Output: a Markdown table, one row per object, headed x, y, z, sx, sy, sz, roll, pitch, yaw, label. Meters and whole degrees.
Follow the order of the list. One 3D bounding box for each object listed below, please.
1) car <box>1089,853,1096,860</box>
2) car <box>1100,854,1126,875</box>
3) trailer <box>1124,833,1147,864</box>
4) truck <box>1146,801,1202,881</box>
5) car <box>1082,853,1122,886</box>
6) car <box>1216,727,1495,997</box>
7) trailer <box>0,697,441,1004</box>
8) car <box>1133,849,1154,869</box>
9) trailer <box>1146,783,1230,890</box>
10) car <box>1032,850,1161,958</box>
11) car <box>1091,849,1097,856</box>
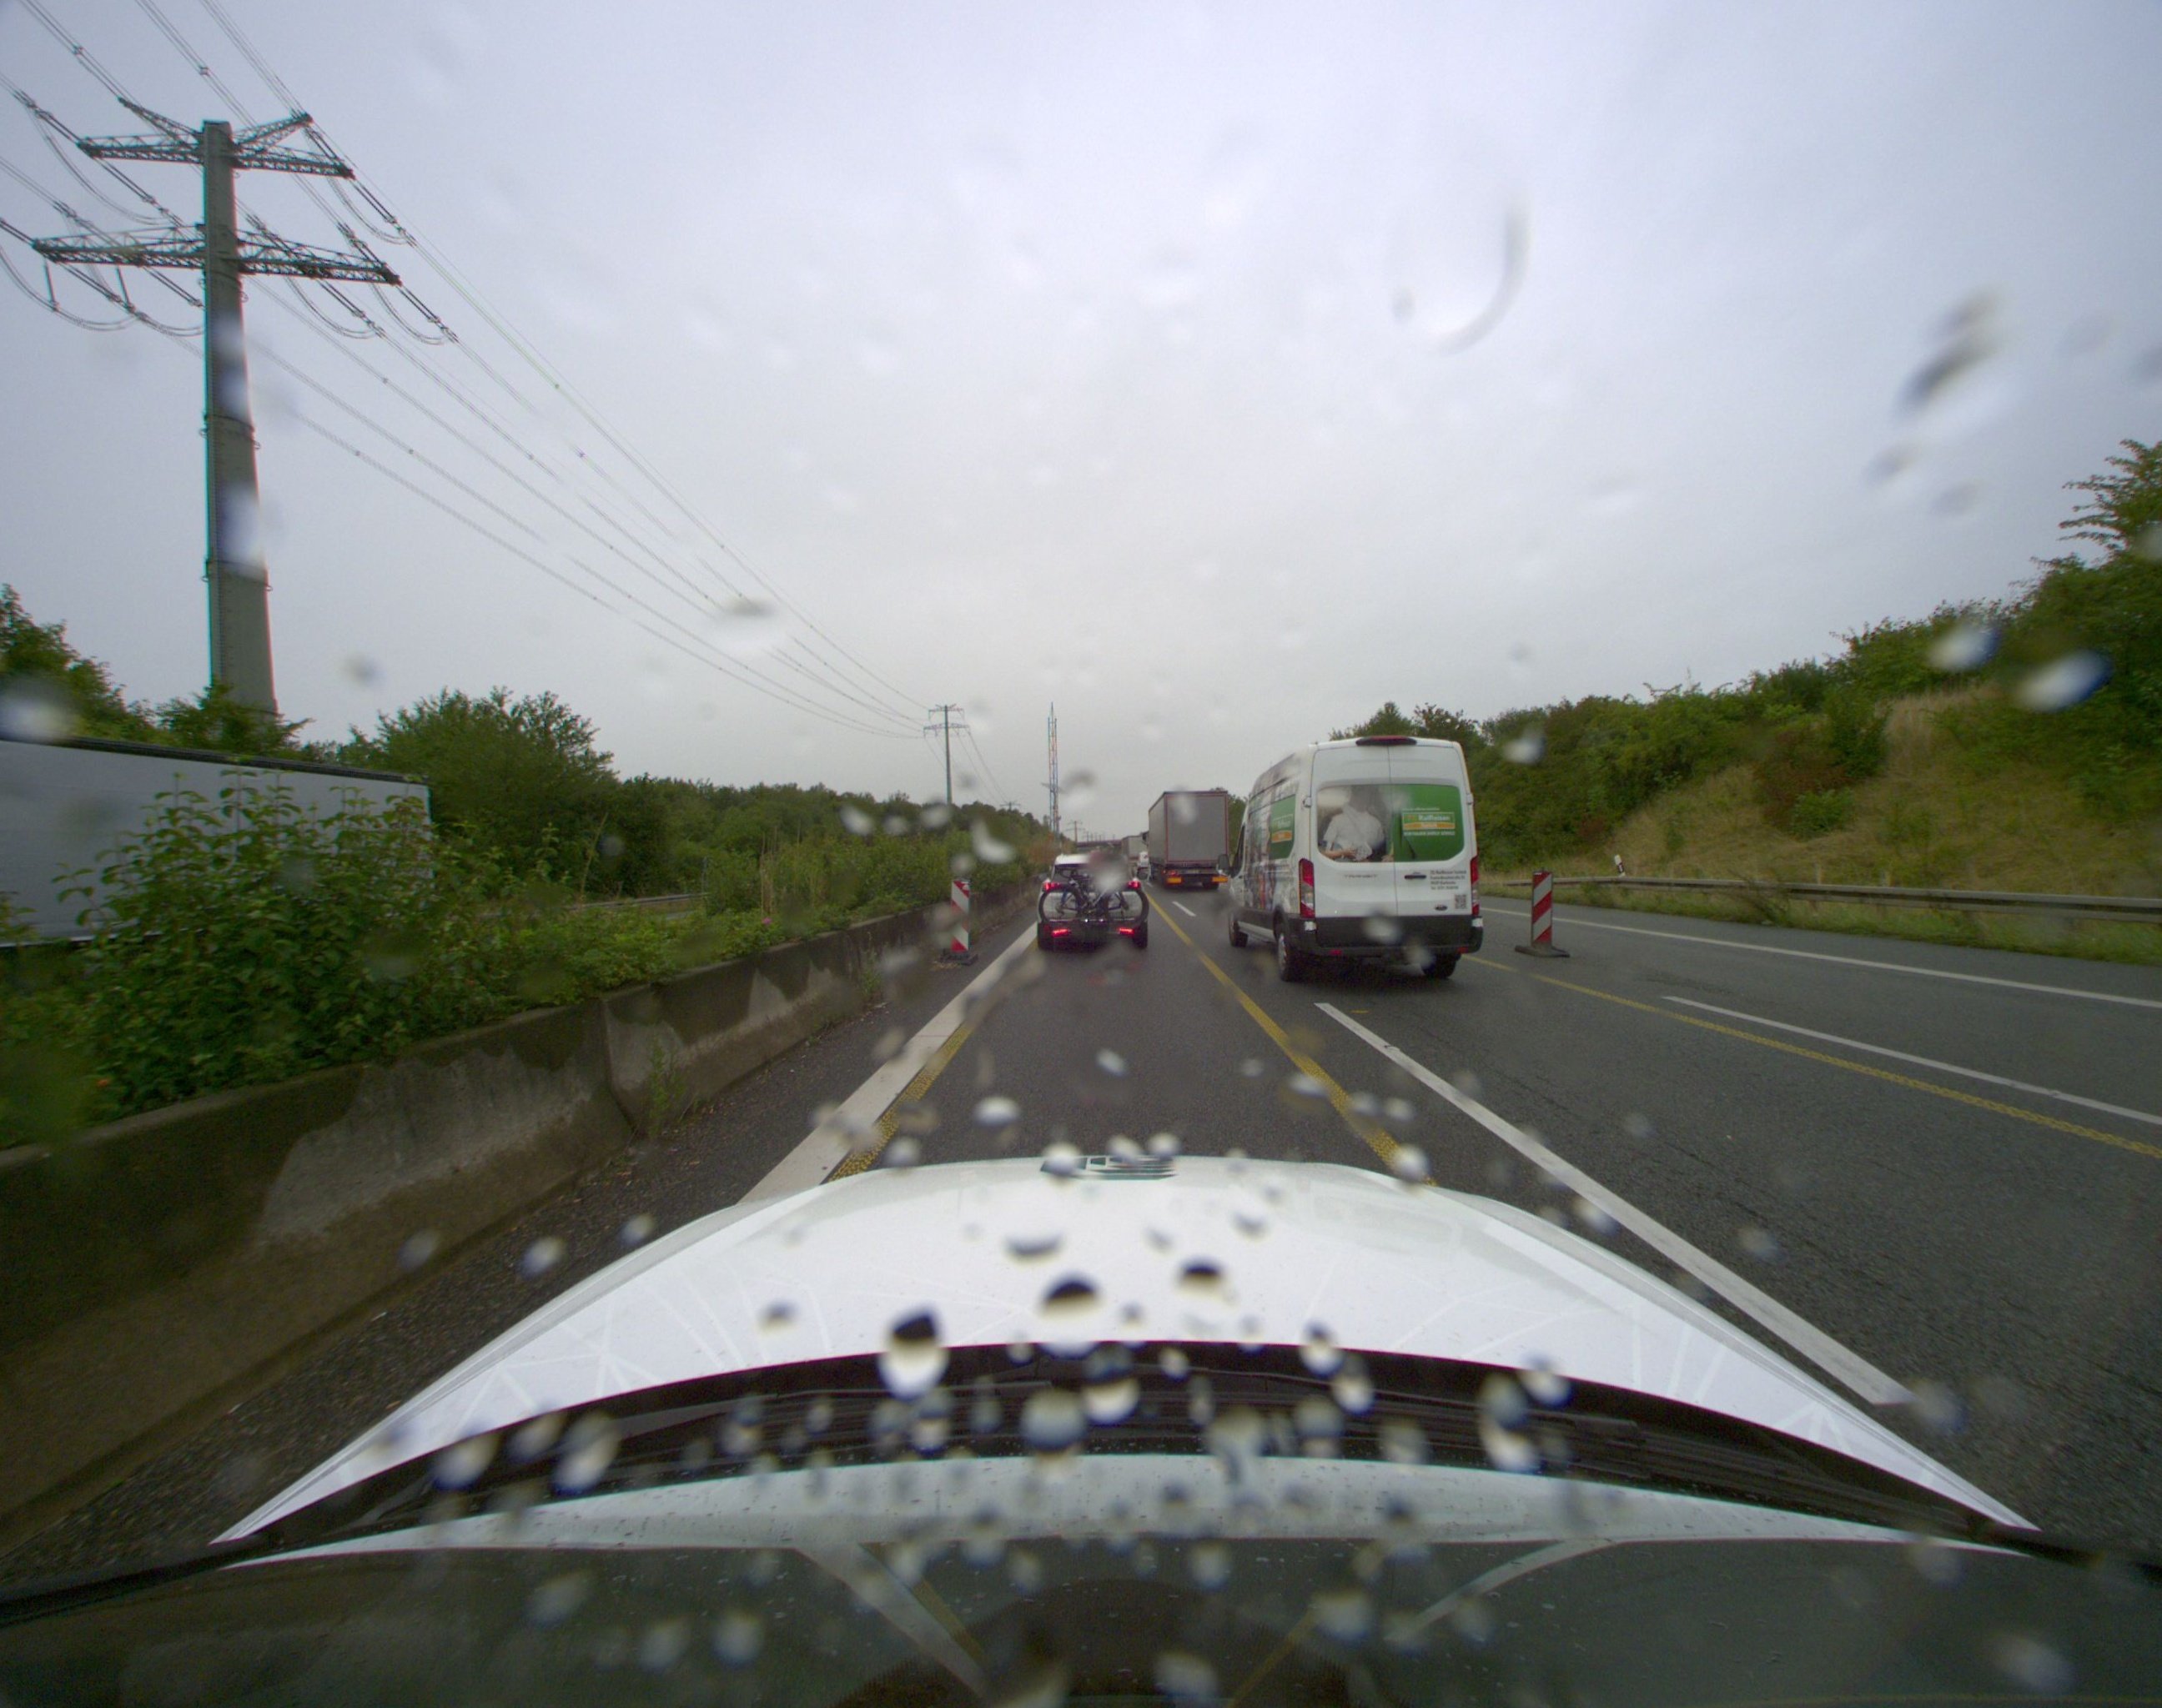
| x | y | z | sx | sy | sz | roll | pitch | yaw | label |
| --- | --- | --- | --- | --- | --- | --- | --- | --- | --- |
| 3.422 | 0.628 | 240.563 | 1.924 | 1.973 | 4.002 | -1 | 1 | 1 | car |
| 2.396 | 0.750 | 61.329 | 1.843 | 1.531 | 4.001 | -1 | 0 | 2 | car |
| 7.560 | -0.683 | 114.112 | 2.682 | 4.076 | 13.638 | -1 | 0 | 2 | trailer |
| 5.092 | -0.687 | 45.478 | 2.695 | 4.138 | 5.695 | -1 | 0 | 3 | truck |
| 1.064 | 0.717 | 40.157 | 1.843 | 1.531 | 4.001 | -1 | 0 | 2 | car |
| 3.351 | 0.079 | 11.414 | 1.986 | 2.783 | 5.757 | -1 | 0 | 1 | car |
| -15.506 | 0.044 | 11.023 | 2.776 | 4.023 | 13.253 | -4 | 0 | 1 | trailer |
| 5.998 | 0.502 | 78.608 | 1.822 | 1.839 | 4.657 | -1 | 0 | 2 | car |
| 4.748 | -0.665 | 38.865 | 2.695 | 4.146 | 13.740 | -1 | 0 | 2 | trailer |
| 0.291 | 0.722 | 14.130 | 1.843 | 1.531 | 4.770 | -1 | 0 | 2 | car |
| 4.099 | -0.464 | 258.318 | 1.924 | 1.910 | 4.002 | -1 | 1 | 1 | car |
